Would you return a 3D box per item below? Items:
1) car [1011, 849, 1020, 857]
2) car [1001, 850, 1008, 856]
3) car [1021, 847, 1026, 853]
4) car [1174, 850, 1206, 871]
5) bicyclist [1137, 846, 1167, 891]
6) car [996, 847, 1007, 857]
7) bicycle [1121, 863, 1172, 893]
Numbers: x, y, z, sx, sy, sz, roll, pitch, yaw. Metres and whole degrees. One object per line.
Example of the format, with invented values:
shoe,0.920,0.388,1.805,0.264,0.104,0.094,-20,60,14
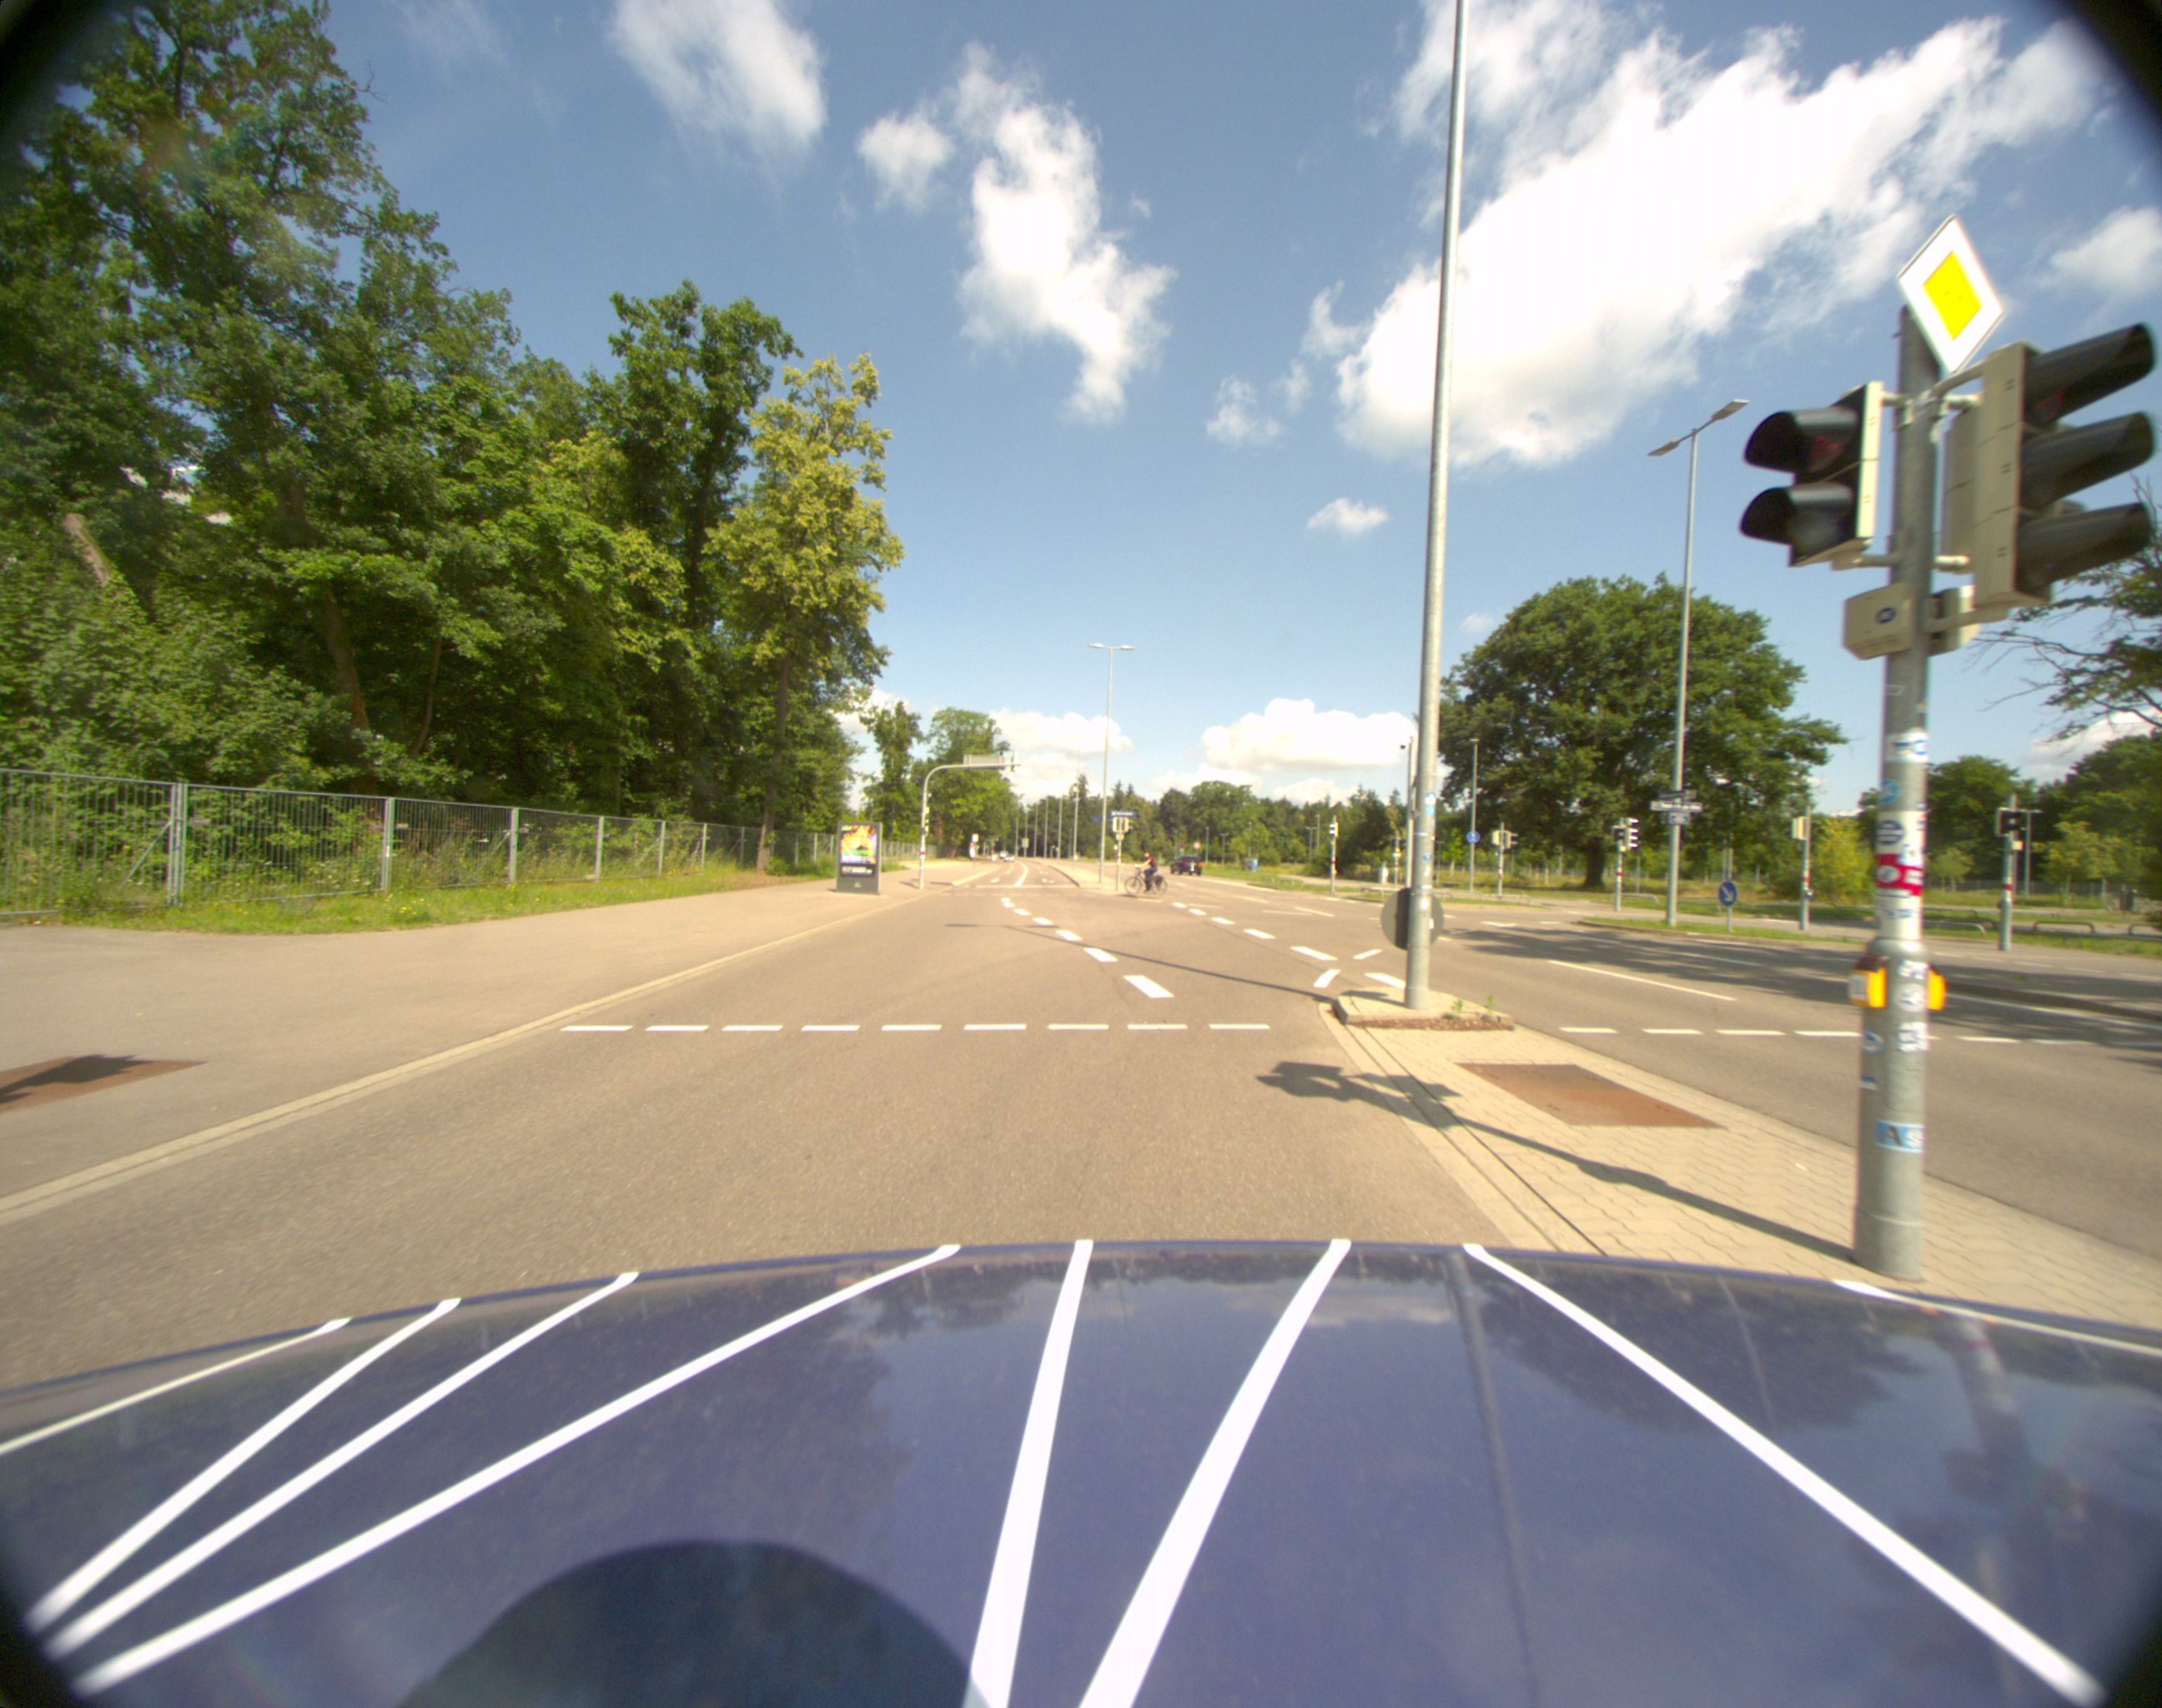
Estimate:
car,-12.539,-0.218,144.786,1.580,1.471,3.568,1,1,-7
car,-18.391,-0.325,183.326,1.580,1.471,3.568,1,1,-5
car,-16.373,-1.104,216.170,1.580,1.471,3.568,1,1,-5
car,9.388,0.550,65.897,1.980,1.754,4.707,1,0,-1
bicyclist,2.914,0.586,31.204,0.979,1.787,0.886,1,1,-15
car,-12.421,-0.305,118.800,1.580,1.471,3.568,1,1,-5
bicycle,2.678,0.989,31.161,1.899,1.199,0.882,1,1,-17
